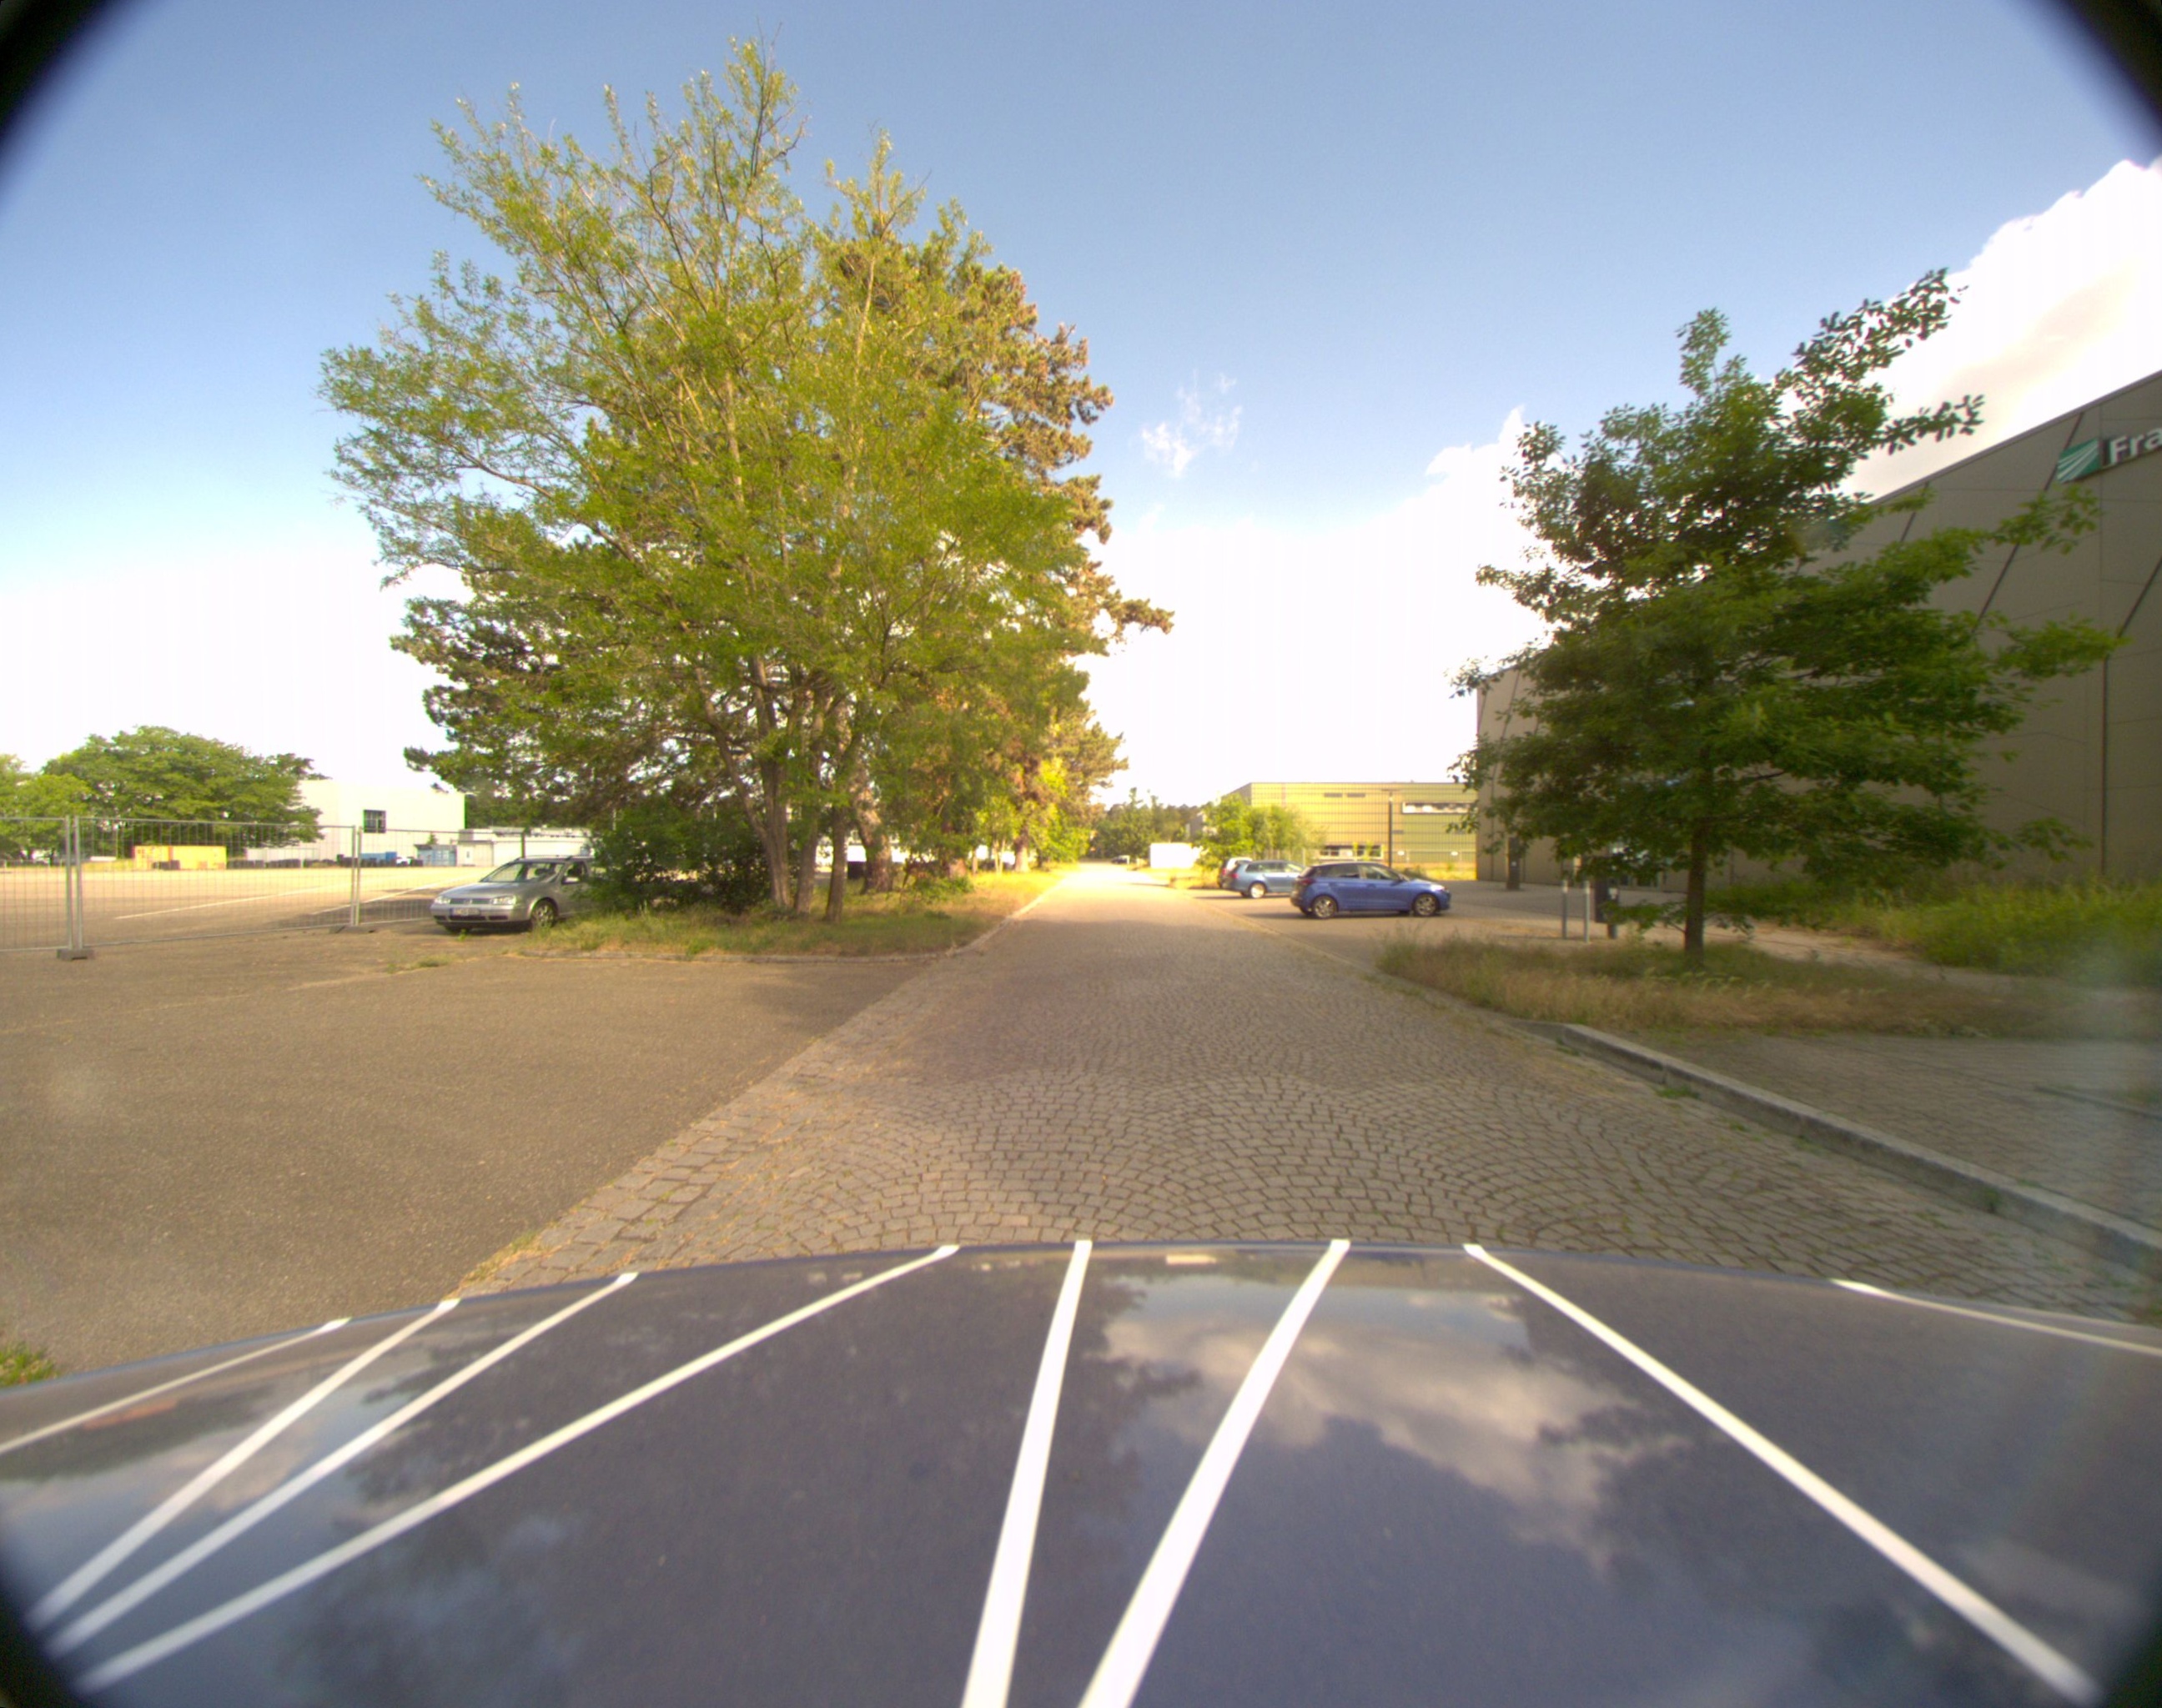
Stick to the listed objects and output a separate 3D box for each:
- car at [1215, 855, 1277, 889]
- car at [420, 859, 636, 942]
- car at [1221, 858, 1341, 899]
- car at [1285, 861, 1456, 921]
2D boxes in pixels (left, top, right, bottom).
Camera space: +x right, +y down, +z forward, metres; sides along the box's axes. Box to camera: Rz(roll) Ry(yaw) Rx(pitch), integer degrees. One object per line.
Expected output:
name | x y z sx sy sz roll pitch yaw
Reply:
car | 8.036 0.873 37.117 2.652 1.559 1.481 -1 0 0
car | -10.972 0.844 15.478 1.578 1.435 3.985 0 0 -2
car | 7.764 0.932 29.746 4.179 1.465 1.734 -1 0 -1
car | 7.612 0.955 20.277 3.917 1.459 1.735 -1 0 4
